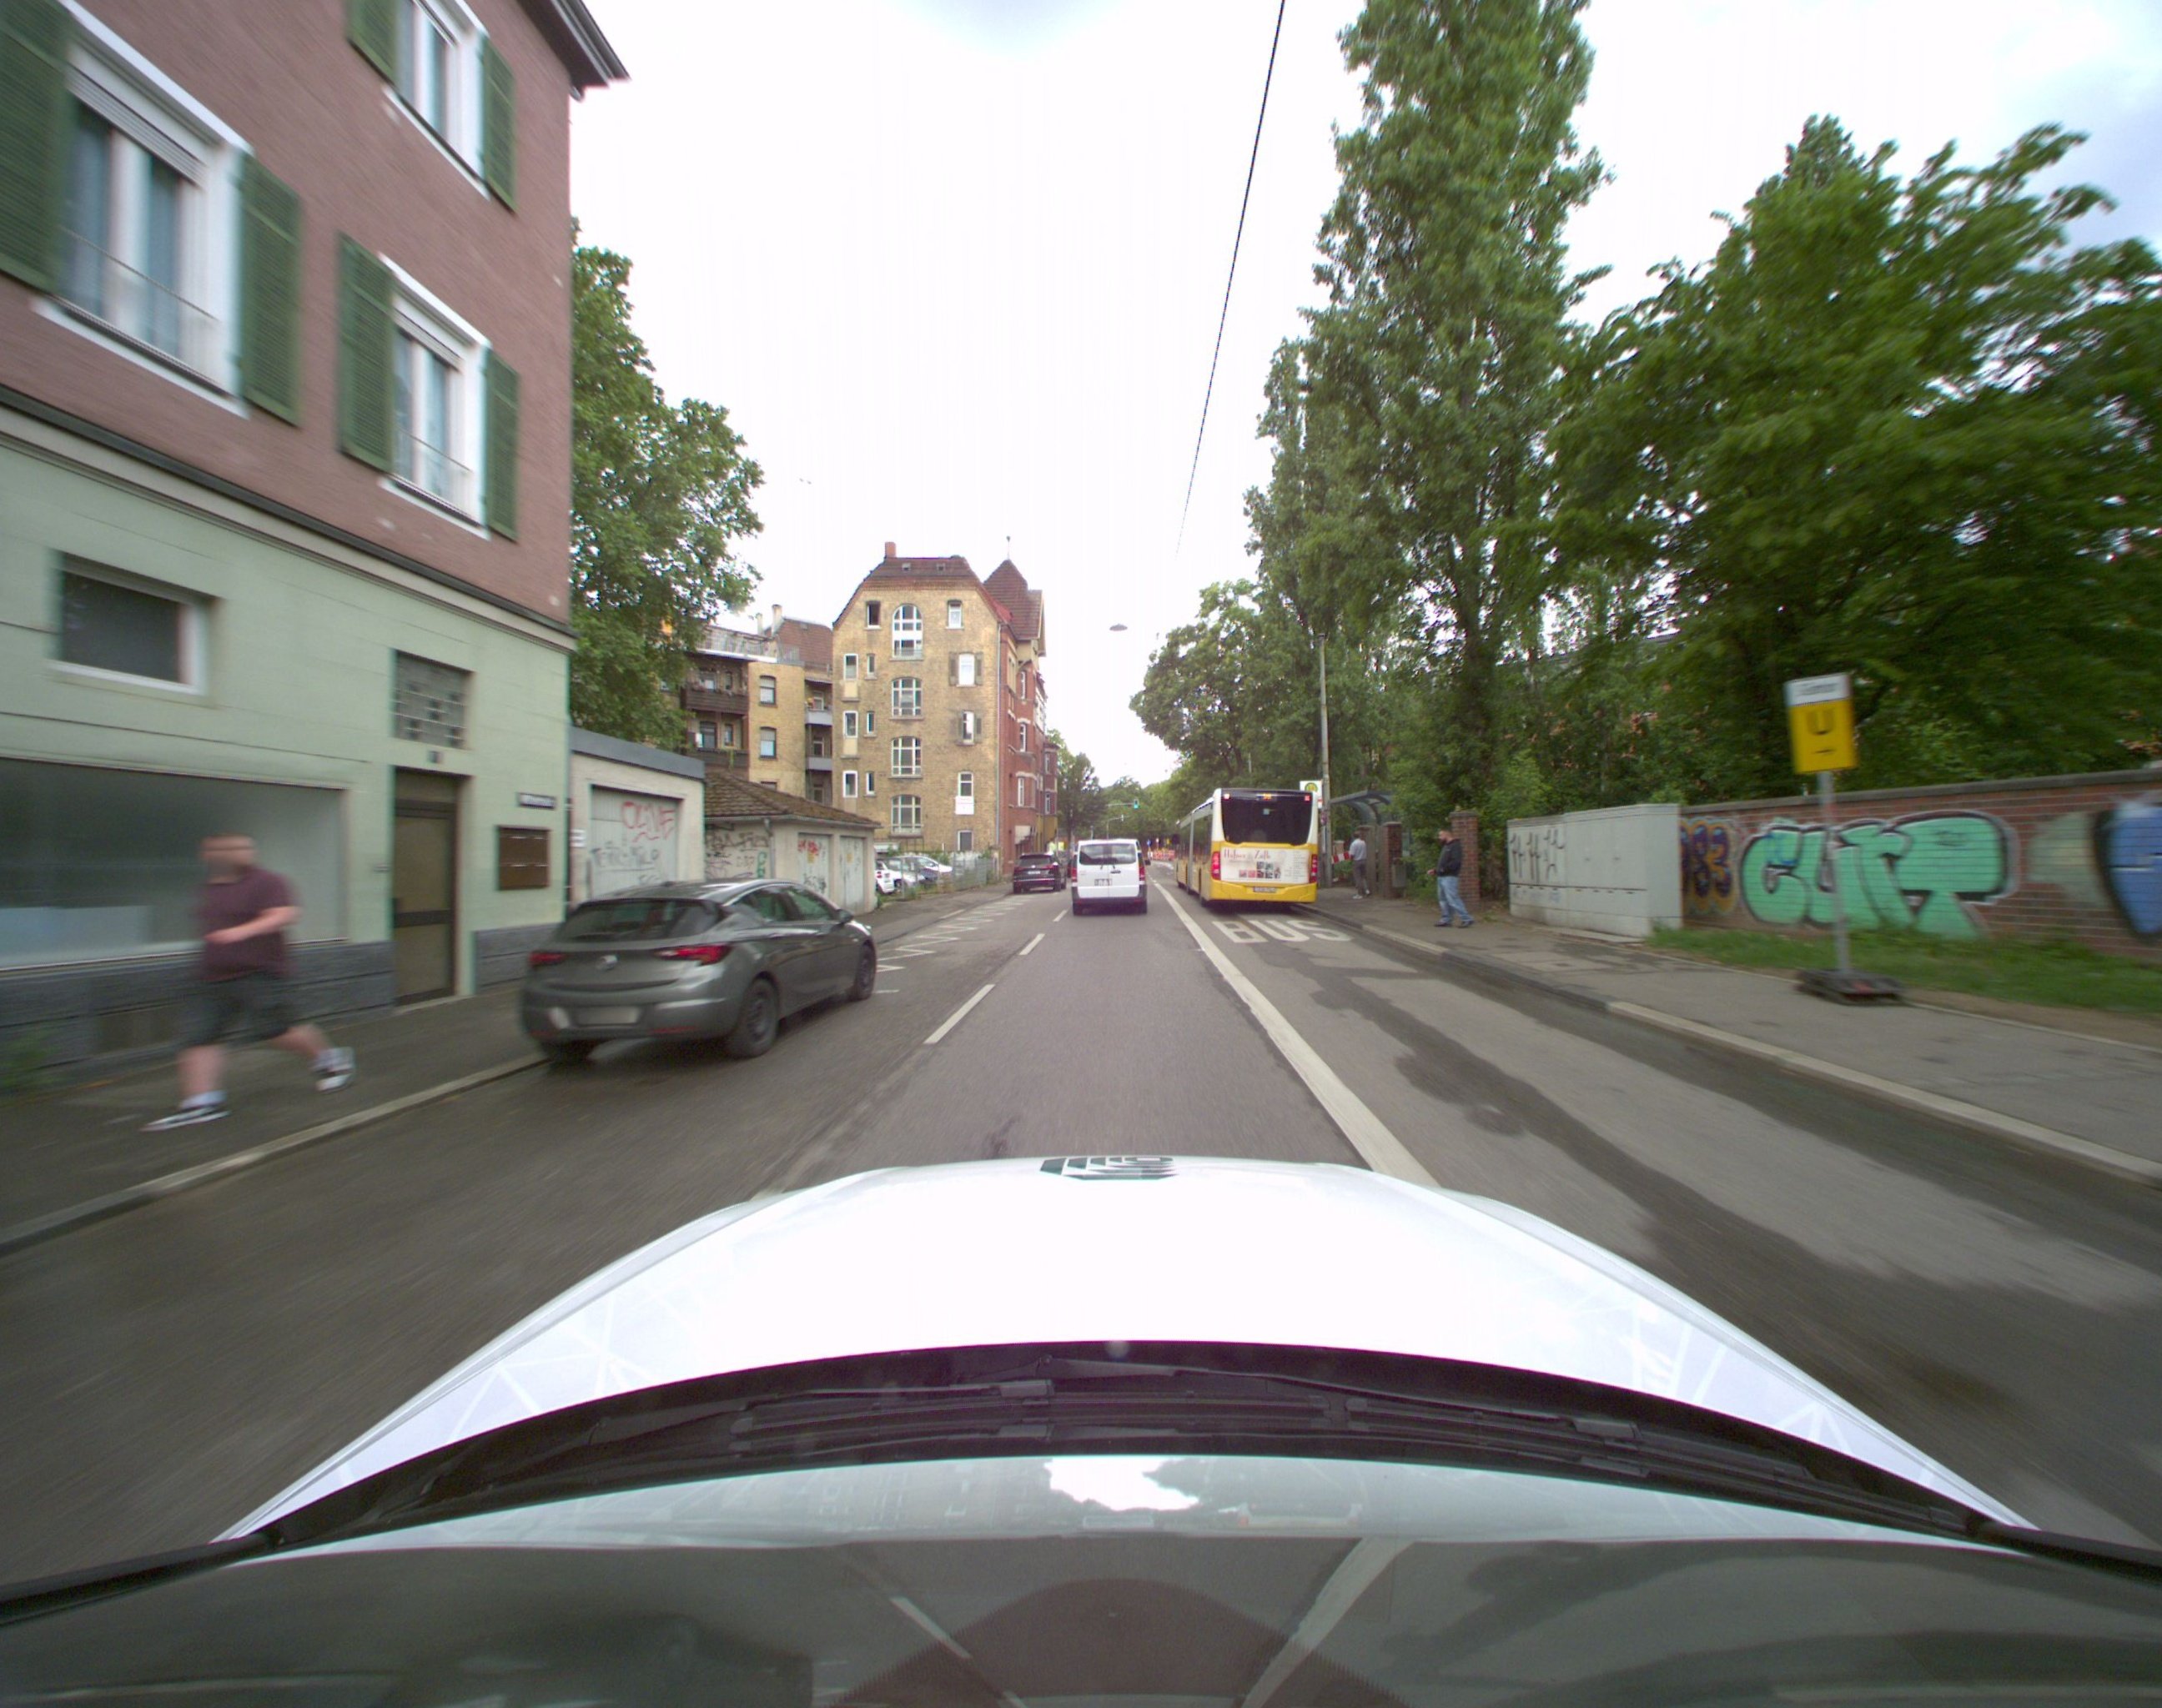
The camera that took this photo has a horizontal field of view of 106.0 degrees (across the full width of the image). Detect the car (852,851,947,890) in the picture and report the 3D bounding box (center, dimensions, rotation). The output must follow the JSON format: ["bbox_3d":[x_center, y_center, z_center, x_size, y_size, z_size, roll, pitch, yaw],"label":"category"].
[{"bbox_3d":[-7.823,0.699,35.309,3.580,1.504,1.855,-2,0,4],"label":"car"}]

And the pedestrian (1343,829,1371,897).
[{"bbox_3d":[7.485,0.247,22.122,0.448,1.779,0.672,-4,-1,3],"label":"pedestrian"}]

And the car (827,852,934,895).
[{"bbox_3d":[-7.996,0.769,32.704,3.706,1.504,1.855,-2,0,3],"label":"car"}]

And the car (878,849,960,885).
[{"bbox_3d":[-8.018,0.619,40.482,3.580,1.612,1.690,-2,0,3],"label":"car"}]

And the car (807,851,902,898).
[{"bbox_3d":[-8.319,0.746,30.075,2.835,1.565,1.855,-2,0,4],"label":"car"}]

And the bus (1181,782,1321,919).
[{"bbox_3d":[4.577,-0.095,23.994,2.651,3.136,10.050,1,0,4],"label":"bus"}]

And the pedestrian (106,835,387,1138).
[{"bbox_3d":[-5.248,0.761,5.205,0.758,1.744,0.985,1,1,1],"label":"pedestrian"}]

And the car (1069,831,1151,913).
[{"bbox_3d":[0.762,0.496,21.789,1.910,1.902,4.702,2,-2,2],"label":"car"}]

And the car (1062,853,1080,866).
[{"bbox_3d":[-1.357,0.708,106.050,2.033,1.485,4.384,-1,2,-5],"label":"car"}]

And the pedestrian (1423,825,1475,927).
[{"bbox_3d":[6.587,0.385,14.595,0.579,1.779,0.822,1,0,3],"label":"pedestrian"}]

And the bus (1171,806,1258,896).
[{"bbox_3d":[5.252,-0.124,33.615,2.660,3.138,9.227,1,0,4],"label":"bus"}]

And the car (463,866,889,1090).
[{"bbox_3d":[-3.416,0.920,7.936,1.870,1.486,4.131,1,0,3],"label":"car"}]

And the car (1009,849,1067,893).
[{"bbox_3d":[-1.759,0.670,35.059,1.945,1.734,4.778,-1,0,3],"label":"car"}]

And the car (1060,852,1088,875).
[{"bbox_3d":[-0.472,0.683,61.573,1.717,1.485,4.397,0,2,5],"label":"car"}]
